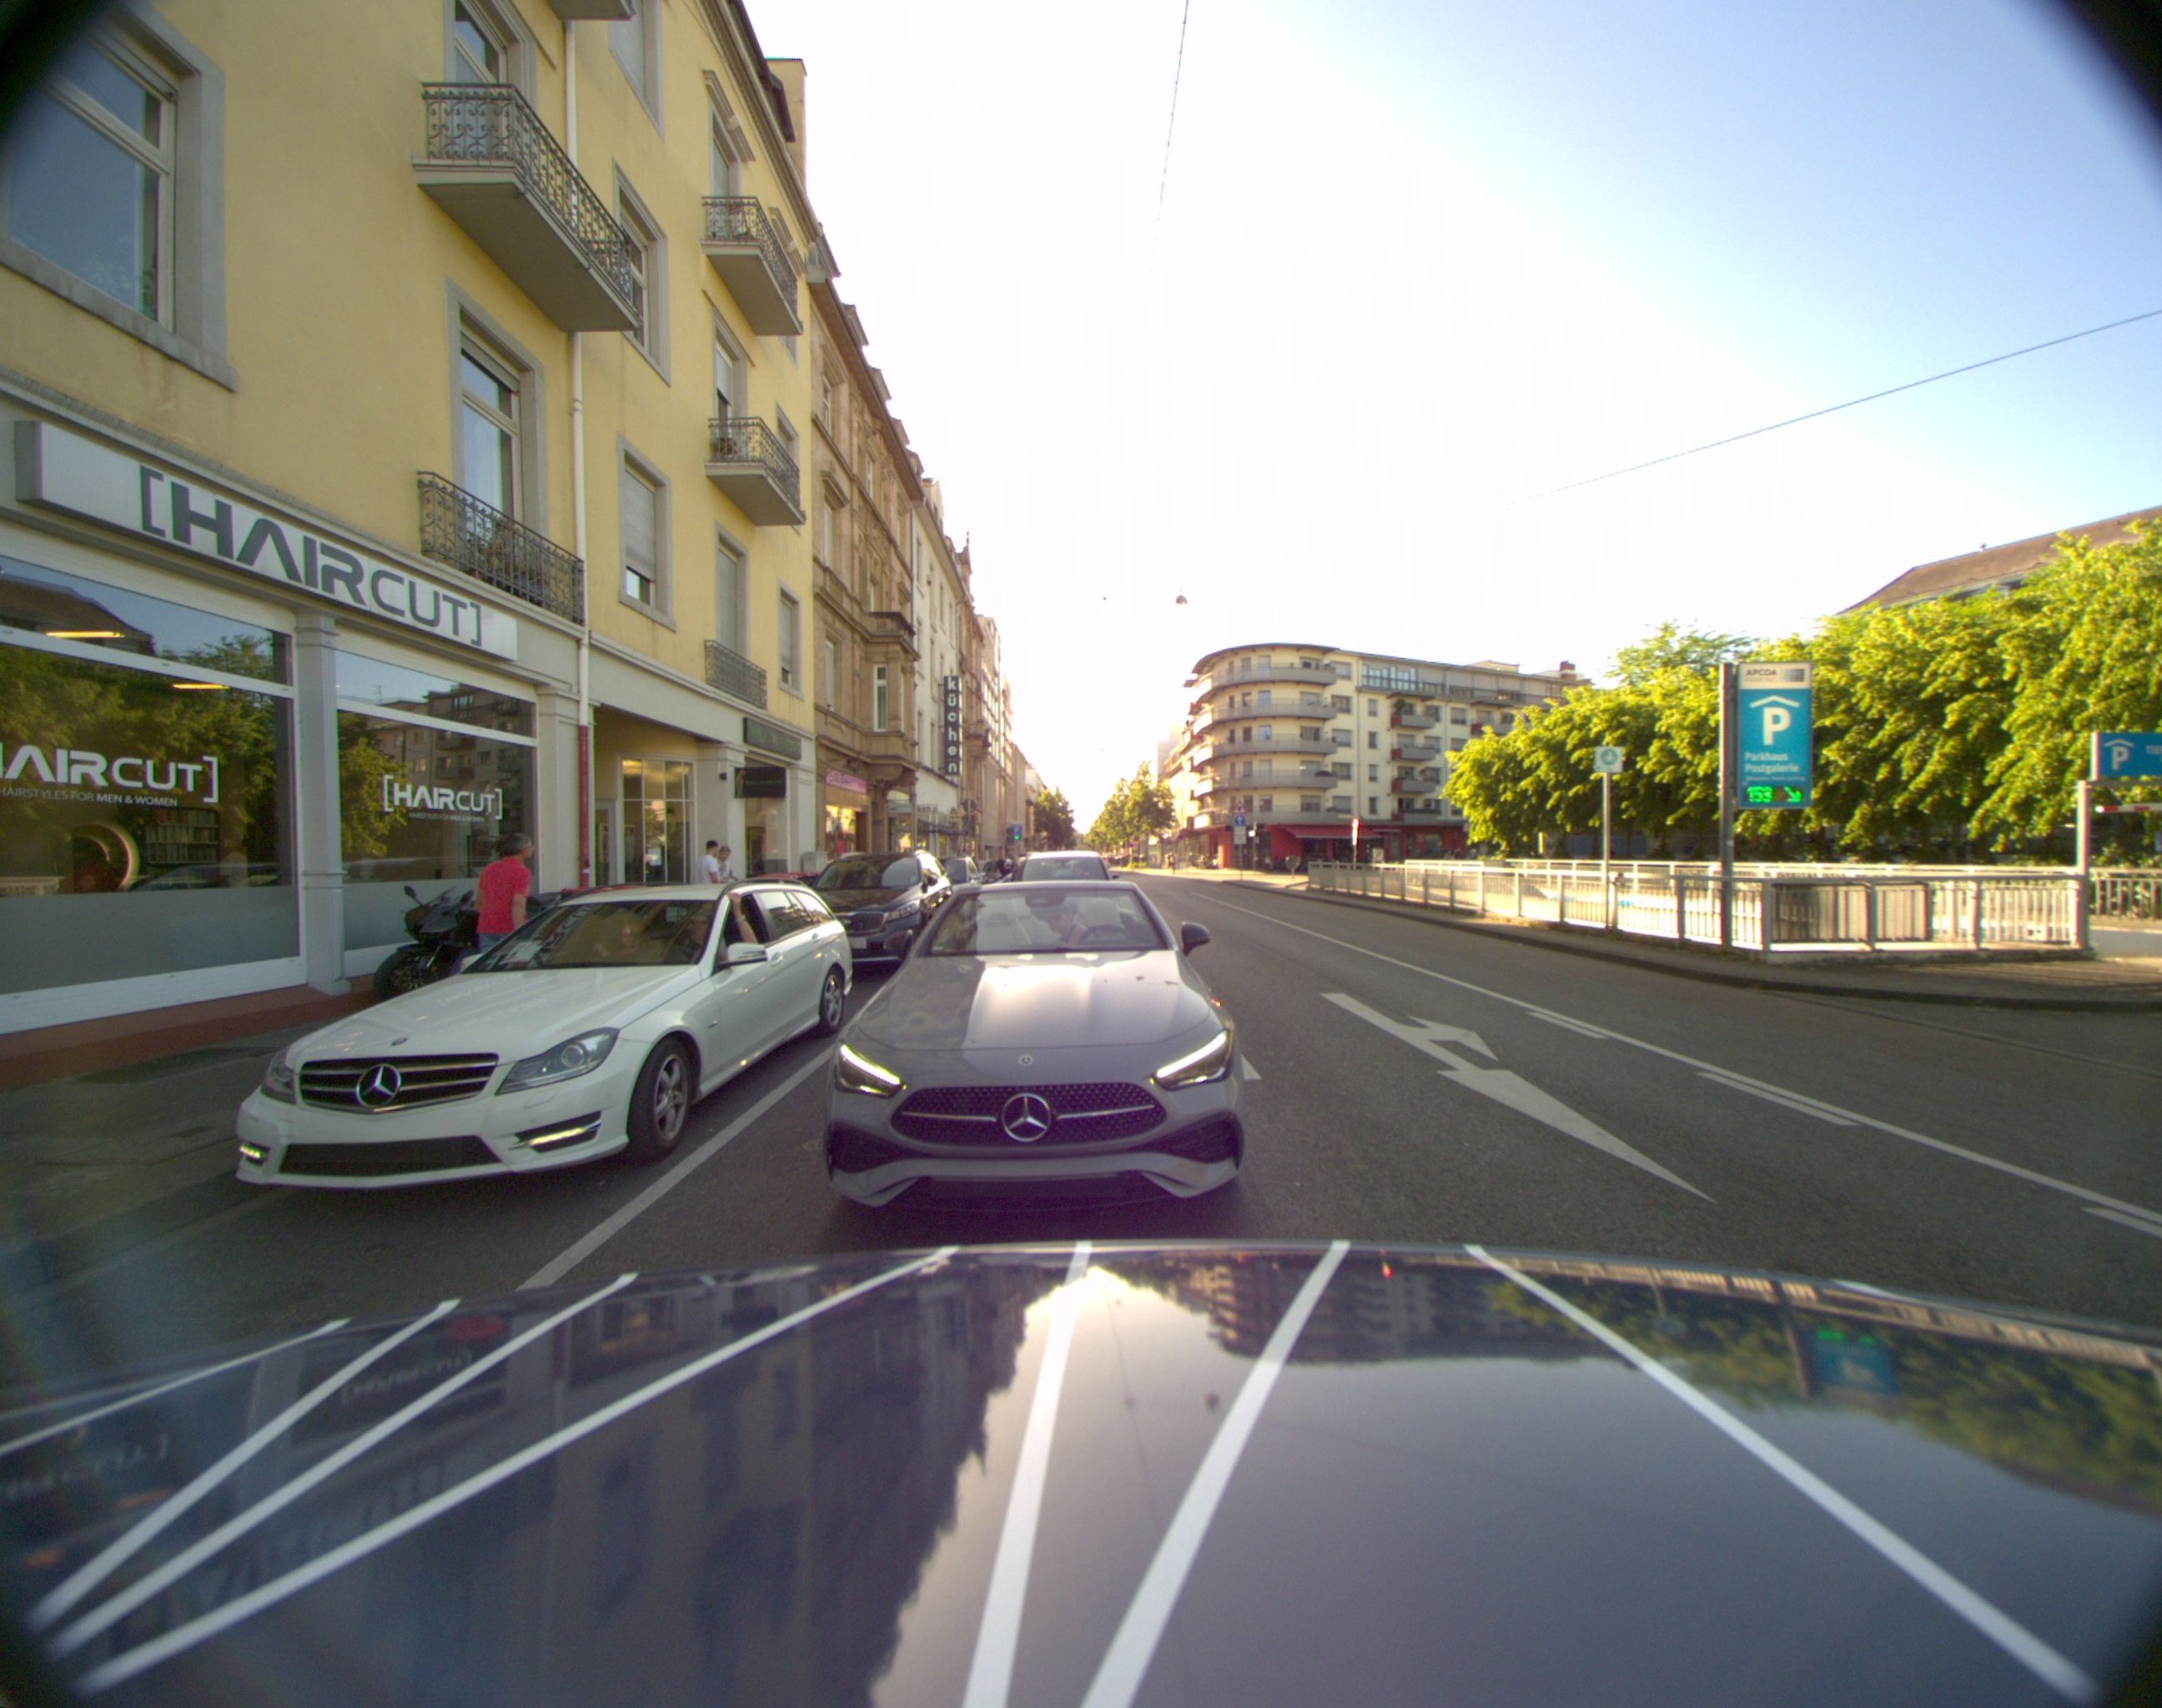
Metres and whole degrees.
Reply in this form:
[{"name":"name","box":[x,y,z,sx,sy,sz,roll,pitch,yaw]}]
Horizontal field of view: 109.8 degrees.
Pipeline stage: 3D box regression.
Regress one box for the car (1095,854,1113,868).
[{"name":"car","box":[2.568,0.724,84.477,1.802,1.426,4.250,-1,0,0]}]

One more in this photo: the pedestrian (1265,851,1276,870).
[{"name":"pedestrian","box":[15.065,0.493,60.315,0.791,1.452,0.583,-1,1,10]}]

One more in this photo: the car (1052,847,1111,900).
[{"name":"car","box":[0.044,0.639,27.456,1.952,1.742,4.000,-1,0,1]}]

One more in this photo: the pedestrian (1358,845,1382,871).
[{"name":"pedestrian","box":[22.689,0.298,59.619,1.234,2.002,1.259,-2,1,-21]}]

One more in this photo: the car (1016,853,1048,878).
[{"name":"car","box":[-3.013,0.684,47.640,1.715,1.477,4.062,-1,0,0]}]

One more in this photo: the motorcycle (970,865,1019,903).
[{"name":"motorcycle","box":[-3.049,1.042,26.834,0.769,1.225,1.546,-1,1,42]}]

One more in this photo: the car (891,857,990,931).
[{"name":"car","box":[-3.248,0.875,18.091,1.696,1.559,3.018,-1,0,1]}]

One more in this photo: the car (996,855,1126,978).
[{"name":"car","box":[-0.244,0.846,12.223,1.716,1.599,4.000,-1,0,1]}]

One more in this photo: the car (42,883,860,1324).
[{"name":"car","box":[-3.069,1.042,5.207,1.759,1.453,4.597,-1,0,0]}]

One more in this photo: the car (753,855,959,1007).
[{"name":"car","box":[-2.979,0.887,11.167,1.858,1.688,4.697,-1,0,-4]}]

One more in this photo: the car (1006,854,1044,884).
[{"name":"car","box":[-2.972,0.756,41.045,1.715,1.477,3.999,-1,0,0]}]

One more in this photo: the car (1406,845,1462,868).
[{"name":"car","box":[29.046,0.167,62.494,4.004,1.740,1.996,-2,1,-23]}]

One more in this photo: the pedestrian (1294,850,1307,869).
[{"name":"pedestrian","box":[17.702,0.432,61.198,0.583,1.453,0.790,-2,1,-37]}]

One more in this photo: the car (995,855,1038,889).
[{"name":"car","box":[-3.041,0.807,36.527,1.715,1.477,3.999,-1,0,0]}]

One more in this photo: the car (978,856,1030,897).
[{"name":"car","box":[-3.049,0.865,30.774,1.715,1.477,3.999,-1,0,0]}]

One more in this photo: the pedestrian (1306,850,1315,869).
[{"name":"pedestrian","box":[17.962,0.454,59.543,0.581,1.481,0.793,-1,1,13]}]

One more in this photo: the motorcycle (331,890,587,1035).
[{"name":"motorcycle","box":[-6.255,1.020,7.873,0.773,1.158,2.247,1,0,1]}]

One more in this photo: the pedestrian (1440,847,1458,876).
[{"name":"pedestrian","box":[22.170,0.454,45.806,0.674,1.696,0.699,-2,1,-7]}]

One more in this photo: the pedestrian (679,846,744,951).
[{"name":"pedestrian","box":[-5.868,0.687,12.103,0.642,1.607,0.701,-1,1,-1]}]

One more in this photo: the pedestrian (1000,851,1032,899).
[{"name":"pedestrian","box":[-2.322,0.744,27.150,0.836,1.657,0.692,-2,1,-34]}]

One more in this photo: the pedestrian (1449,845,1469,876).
[{"name":"pedestrian","box":[22.853,0.394,45.909,0.755,1.795,0.756,-2,1,-15]}]

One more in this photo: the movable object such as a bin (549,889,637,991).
[{"name":"movable object such as a bin","box":[-6.102,1.059,9.535,0.647,1.200,0.644,-1,1,1]}]

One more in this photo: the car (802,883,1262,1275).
[{"name":"car","box":[-0.215,1.008,5.259,1.849,1.371,4.255,-2,0,-1]}]

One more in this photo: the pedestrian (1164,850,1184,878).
[{"name":"pedestrian","box":[6.927,0.708,56.279,1.018,2.002,1.202,-2,1,29]}]

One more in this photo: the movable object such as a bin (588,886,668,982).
[{"name":"movable object such as a bin","box":[-6.052,1.050,10.187,0.647,1.200,0.644,-1,1,1]}]

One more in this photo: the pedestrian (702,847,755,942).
[{"name":"pedestrian","box":[-6.175,0.688,13.325,0.572,1.607,0.643,-1,1,2]}]

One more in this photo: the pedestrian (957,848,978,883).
[{"name":"pedestrian","box":[-5.245,0.525,35.105,0.795,1.607,0.763,-1,1,-1]}]

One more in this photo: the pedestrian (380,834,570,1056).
[{"name":"pedestrian","box":[-5.197,0.731,6.599,0.867,1.774,1.008,2,1,-6]}]
